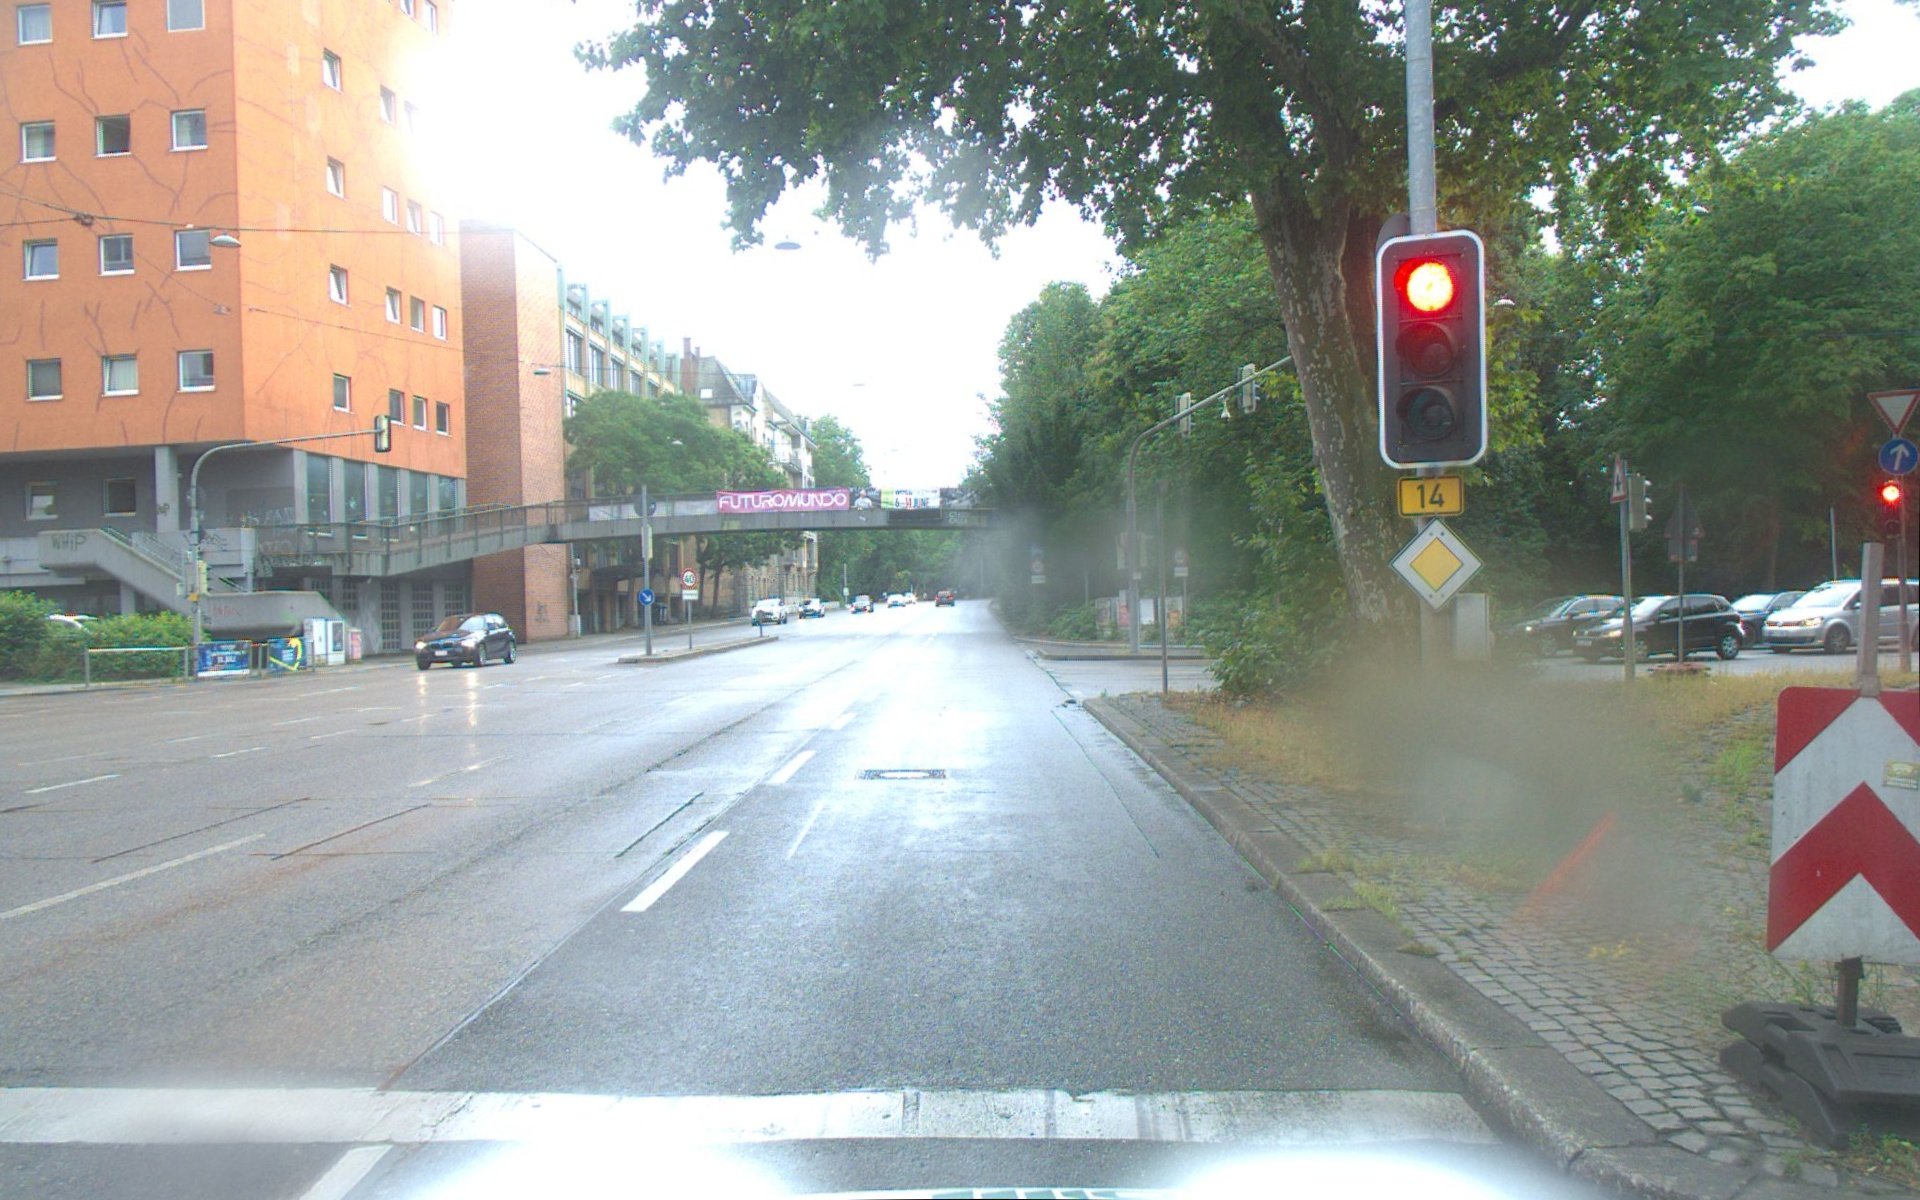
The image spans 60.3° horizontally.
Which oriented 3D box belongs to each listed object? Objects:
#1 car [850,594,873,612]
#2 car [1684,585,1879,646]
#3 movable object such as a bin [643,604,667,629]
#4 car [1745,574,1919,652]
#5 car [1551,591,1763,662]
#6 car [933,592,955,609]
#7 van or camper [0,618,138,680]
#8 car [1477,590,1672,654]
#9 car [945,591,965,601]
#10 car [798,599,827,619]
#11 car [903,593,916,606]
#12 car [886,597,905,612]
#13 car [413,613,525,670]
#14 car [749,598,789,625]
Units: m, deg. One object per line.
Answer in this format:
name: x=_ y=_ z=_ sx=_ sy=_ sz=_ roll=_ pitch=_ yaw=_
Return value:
car: x=-8.414 y=0.238 z=140.869 sx=1.648 sy=1.461 sz=3.862 roll=-2 pitch=0 yaw=0
car: x=20.799 y=0.396 z=41.901 sx=4.361 sy=1.427 sz=1.821 roll=1 pitch=0 yaw=-17
movable object such as a bin: x=-19.699 y=1.068 z=106.784 sx=1.256 sy=1.545 sz=1.273 roll=-1 pitch=0 yaw=1
car: x=20.660 y=0.320 z=38.508 sx=4.129 sy=1.709 sz=1.898 roll=1 pitch=0 yaw=-17
car: x=15.365 y=0.583 z=36.497 sx=4.119 sy=1.486 sz=1.785 roll=1 pitch=0 yaw=-17
car: x=-1.585 y=0.067 z=163.469 sx=1.964 sy=1.672 sz=4.374 roll=-1 pitch=0 yaw=-2
van or camper: x=-25.963 y=1.406 z=47.326 sx=3.902 sy=1.656 sz=1.915 roll=-1 pitch=0 yaw=5
car: x=14.948 y=0.532 z=40.275 sx=4.131 sy=1.466 sz=1.941 roll=1 pitch=0 yaw=-17
car: x=-0.758 y=-0.595 z=245.938 sx=1.816 sy=1.478 sz=3.753 roll=1 pitch=0 yaw=-21
car: x=-11.462 y=0.691 z=128.943 sx=1.673 sy=1.490 sz=4.042 roll=-2 pitch=0 yaw=2
car: x=-6.833 y=-0.061 z=222.732 sx=1.568 sy=1.525 sz=3.712 roll=-3 pitch=0 yaw=1
car: x=-6.831 y=0.496 z=176.036 sx=1.793 sy=1.418 sz=4.405 roll=-3 pitch=0 yaw=1
car: x=-13.441 y=1.113 z=45.490 sx=1.651 sy=1.444 sz=4.216 roll=-2 pitch=-1 yaw=2
car: x=-12.076 y=0.707 z=104.819 sx=1.850 sy=1.638 sz=4.457 roll=-1 pitch=0 yaw=2
